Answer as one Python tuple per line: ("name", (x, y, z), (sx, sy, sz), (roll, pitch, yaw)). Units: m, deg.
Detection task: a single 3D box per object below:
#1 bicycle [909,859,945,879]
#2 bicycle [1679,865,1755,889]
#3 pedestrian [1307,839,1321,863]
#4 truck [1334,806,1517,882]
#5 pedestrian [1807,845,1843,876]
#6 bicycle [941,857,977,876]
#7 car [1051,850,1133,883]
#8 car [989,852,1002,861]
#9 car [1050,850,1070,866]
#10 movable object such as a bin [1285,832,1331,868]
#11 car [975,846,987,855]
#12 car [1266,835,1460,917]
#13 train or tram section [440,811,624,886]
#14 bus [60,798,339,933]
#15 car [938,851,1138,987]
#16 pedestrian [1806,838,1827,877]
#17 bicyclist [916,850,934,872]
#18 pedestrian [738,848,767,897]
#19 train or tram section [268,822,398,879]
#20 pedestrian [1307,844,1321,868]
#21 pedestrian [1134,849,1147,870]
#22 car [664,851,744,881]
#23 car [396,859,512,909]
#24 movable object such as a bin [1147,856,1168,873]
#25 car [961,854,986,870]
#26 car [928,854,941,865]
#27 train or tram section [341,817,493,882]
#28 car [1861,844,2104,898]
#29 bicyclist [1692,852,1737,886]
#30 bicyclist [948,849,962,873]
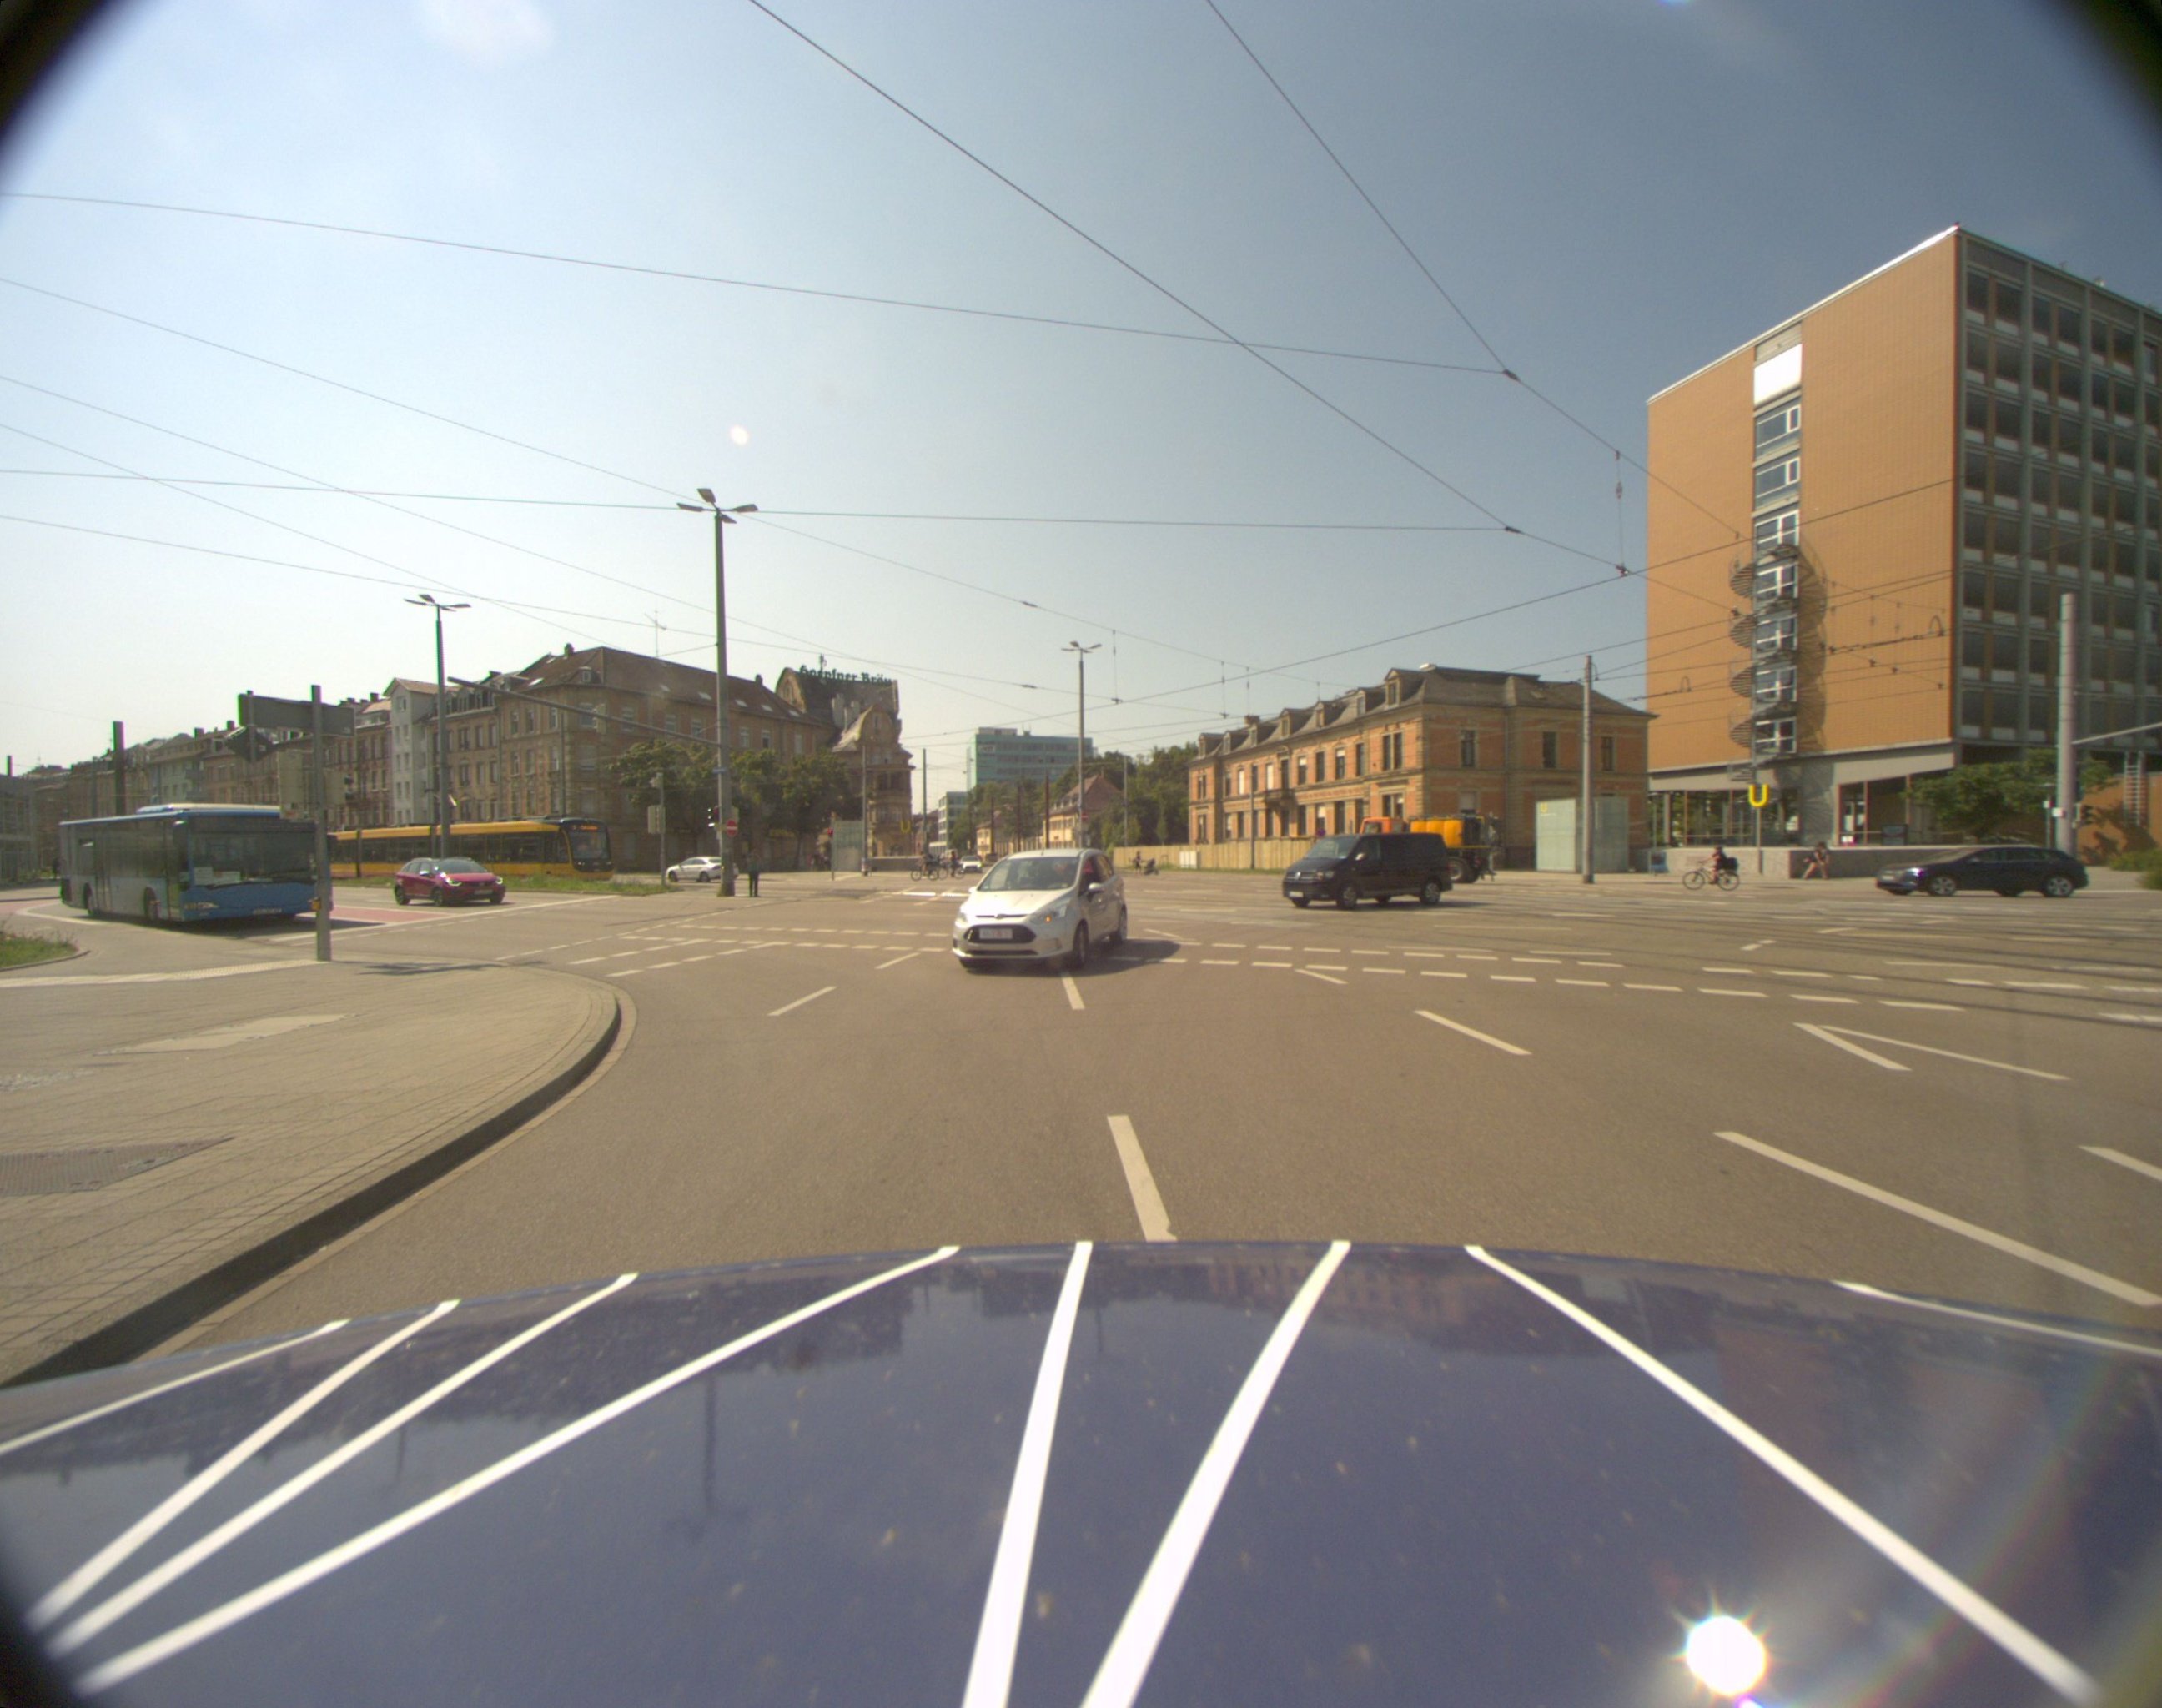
("bicycle", (-8.666, 0.856, 42.809), (1.855, 1.105, 0.712), (-1, 1, -5))
("bicycle", (24.450, 0.865, 29.258), (2.165, 0.894, 0.642), (0, 1, 19))
("pedestrian", (16.546, -0.200, 53.950), (0.684, 1.662, 0.686), (0, 2, 42))
("truck", (15.956, -0.321, 35.506), (7.171, 3.209, 3.049), (-2, -1, 41))
("pedestrian", (33.596, 0.286, 34.321), (0.848, 1.387, 0.786), (-1, 1, -2))
("bicycle", (-7.409, 0.748, 45.979), (2.124, 1.105, 0.441), (0, 1, 12))
("car", (0.502, 0.541, 33.614), (3.352, 1.400, 1.519), (0, 0, 17))
("car", (-16.521, 0.440, 146.253), (2.001, 1.673, 3.996), (-1, -1, -13))
("car", (-2.763, 0.501, 100.350), (2.000, 2.001, 3.997), (-1, -1, -10))
("movable object such as a bin", (17.141, -0.315, 57.564), (1.818, 2.656, 4.453), (-1, 1, -5))
("car", (-21.535, -0.804, 163.452), (2.001, 1.892, 3.996), (-1, -1, -13))
("car", (7.545, 0.485, 20.266), (4.891, 1.920, 1.896), (-2, 2, -23))
("train or tram section", (-28.902, -0.265, 39.739), (12.184, 3.540, 2.600), (0, 1, 28))
("bus", (-25.063, 0.282, 21.316), (12.049, 3.047, 2.739), (0, 1, 29))
("car", (-0.392, 0.777, 11.388), (1.690, 1.586, 4.365), (-1, 1, 15))
("pedestrian", (32.795, 0.178, 33.880), (0.456, 1.709, 0.561), (-1, -1, 23))
("bicyclist", (-8.770, 0.401, 42.789), (0.864, 1.227, 1.101), (-1, 1, -4))
("pedestrian", (-11.454, 0.637, 26.511), (0.805, 1.677, 0.718), (2, -1, -20))
("train or tram section", (-50.466, -0.206, 51.113), (12.184, 3.540, 2.600), (0, 1, 28))
("pedestrian", (16.607, 0.118, 54.122), (0.684, 1.662, 0.686), (0, 2, 42))
("pedestrian", (3.885, 0.374, 49.328), (0.815, 1.343, 0.719), (0, 1, 3))
("car", (-21.589, 0.680, 43.458), (4.590, 1.609, 1.775), (0, 1, 29))
("car", (-20.592, 0.932, 24.932), (3.761, 1.463, 1.633), (0, 2, 29))
("movable object such as a bin", (4.929, 0.655, 48.835), (1.035, 1.078, 0.822), (-2, -1, 37))
("car", (-8.722, 0.641, 61.651), (1.589, 1.280, 3.723), (0, 0, -15))
("car", (-20.373, 0.773, 105.702), (1.376, 1.389, 3.251), (-1, -1, -18))
("train or tram section", (-39.986, -0.240, 45.583), (12.184, 3.540, 2.600), (0, 1, 28))
("car", (28.676, 0.523, 24.377), (4.690, 1.631, 2.002), (0, 1, 16))
("bicyclist", (24.451, 0.579, 29.354), (1.103, 1.259, 0.858), (0, 1, 18))
("bicyclist", (-7.631, 0.424, 46.003), (0.643, 1.473, 0.659), (0, 2, 11))
